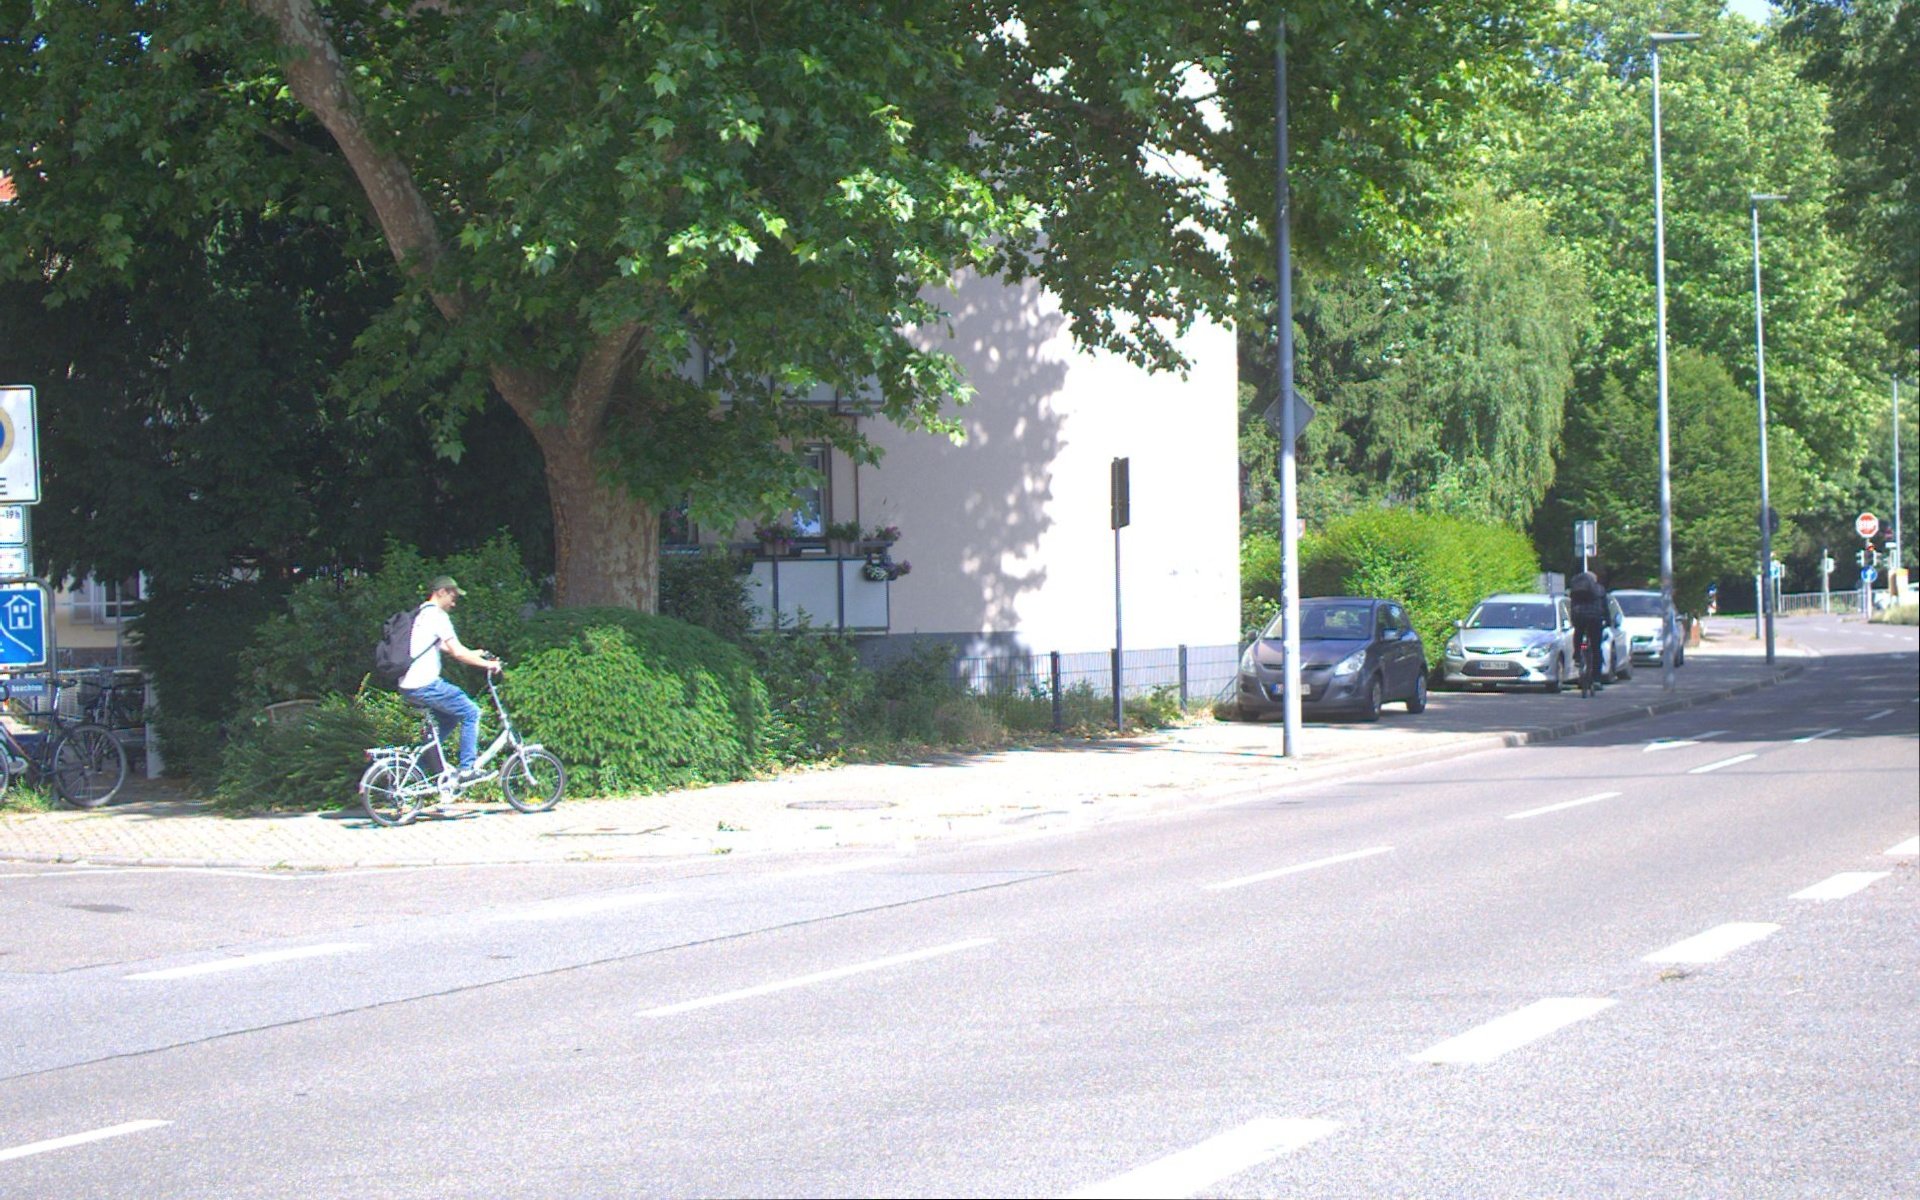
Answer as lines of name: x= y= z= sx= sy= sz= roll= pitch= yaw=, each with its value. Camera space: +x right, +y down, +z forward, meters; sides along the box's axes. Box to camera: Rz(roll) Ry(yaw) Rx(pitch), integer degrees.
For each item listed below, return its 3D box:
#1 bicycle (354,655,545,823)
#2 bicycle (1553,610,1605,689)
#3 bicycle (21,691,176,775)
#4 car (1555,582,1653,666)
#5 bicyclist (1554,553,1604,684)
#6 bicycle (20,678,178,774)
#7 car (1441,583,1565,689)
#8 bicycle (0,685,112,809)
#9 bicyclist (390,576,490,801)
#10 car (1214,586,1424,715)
bicycle: x=-3.769 y=1.013 z=25.385 sx=1.282 sy=1.184 sz=0.554 roll=-1 pitch=0 yaw=-22
bicycle: x=9.045 y=0.716 z=50.206 sx=0.660 sy=1.118 sz=1.802 roll=-1 pitch=0 yaw=12
bicycle: x=-8.846 y=1.363 z=35.305 sx=1.501 sy=0.831 sz=0.384 roll=1 pitch=0 yaw=-19
car: x=13.379 y=0.488 z=71.275 sx=1.771 sy=1.674 sz=3.997 roll=-1 pitch=0 yaw=13
bicyclist: x=9.048 y=0.273 z=50.203 sx=0.646 sy=1.888 sz=0.839 roll=-1 pitch=0 yaw=13
bicycle: x=-9.084 y=1.323 z=36.277 sx=1.569 sy=0.990 sz=0.457 roll=1 pitch=0 yaw=-19
car: x=8.509 y=0.538 z=53.648 sx=1.642 sy=1.568 sz=3.998 roll=-1 pitch=0 yaw=13
bicycle: x=-8.091 y=1.226 z=28.568 sx=1.892 sy=0.980 sz=0.974 roll=-1 pitch=0 yaw=-22
bicyclist: x=-3.839 y=0.646 z=25.366 sx=0.587 sy=1.628 sz=0.541 roll=-1 pitch=0 yaw=-23
car: x=4.507 y=0.600 z=42.748 sx=1.789 sy=1.507 sz=3.890 roll=-1 pitch=0 yaw=18
